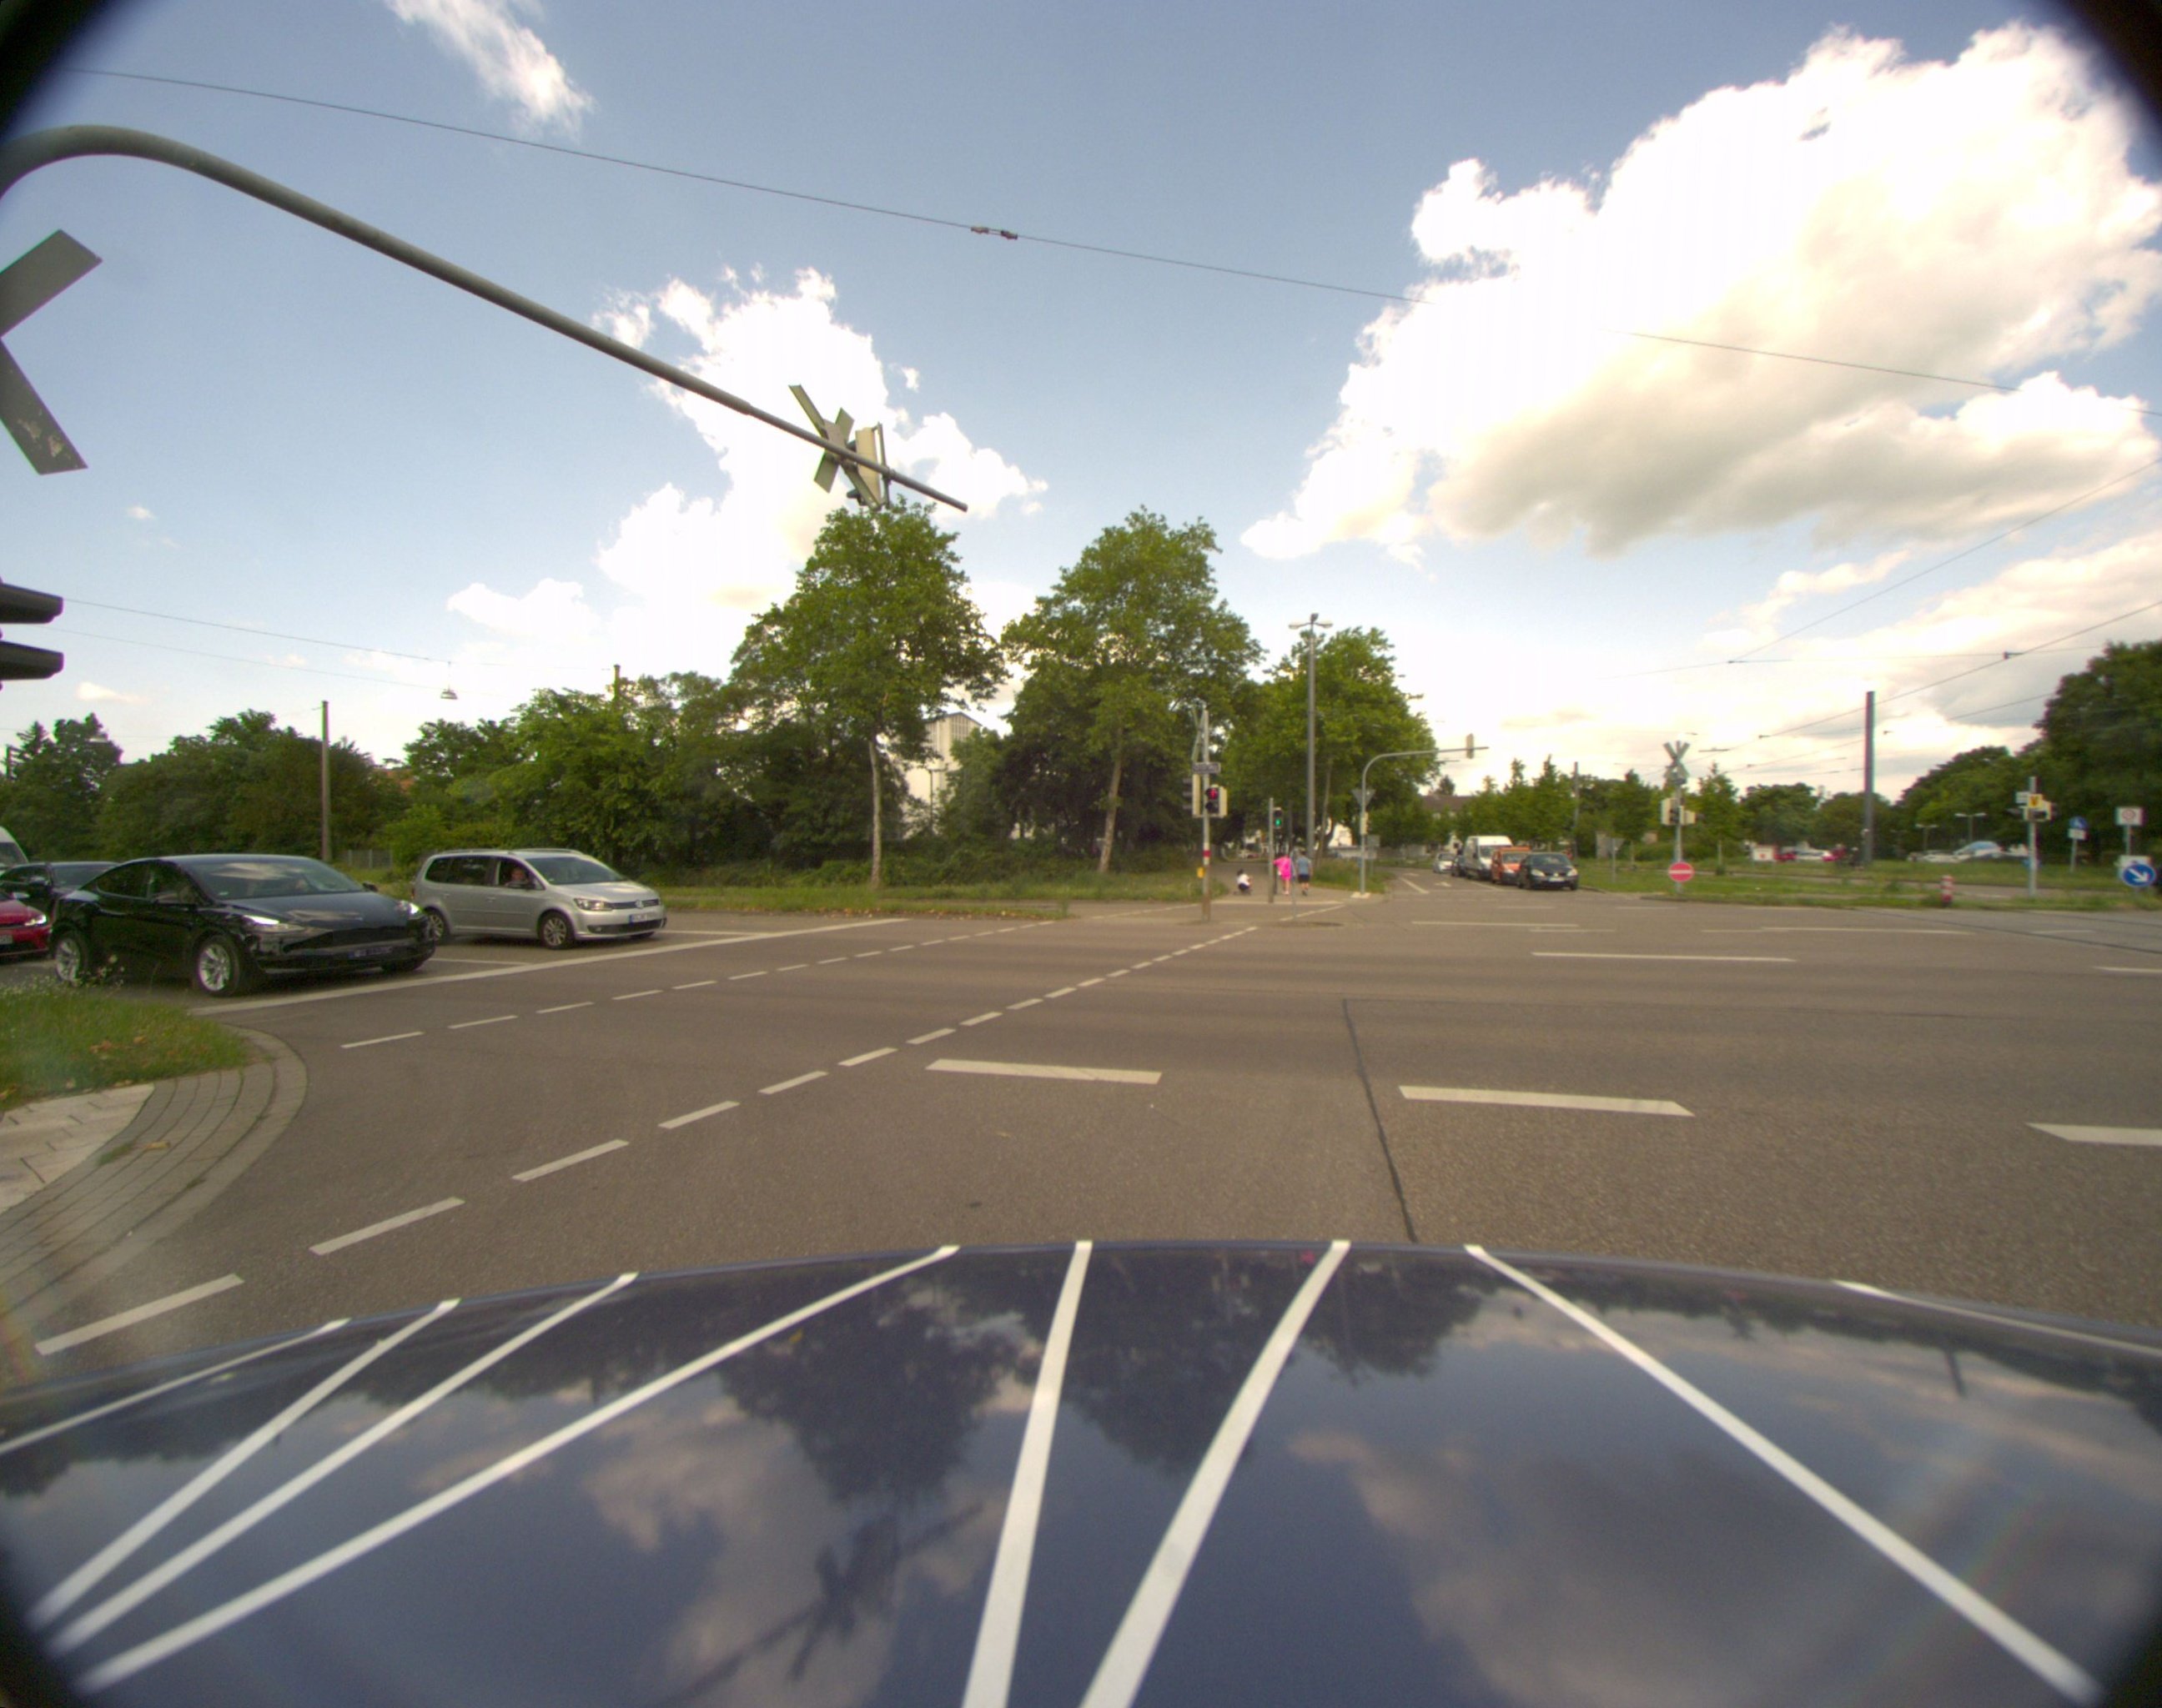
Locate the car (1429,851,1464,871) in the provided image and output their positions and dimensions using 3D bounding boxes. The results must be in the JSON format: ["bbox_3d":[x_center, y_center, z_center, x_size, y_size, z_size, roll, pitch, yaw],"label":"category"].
[{"bbox_3d":[27.888,0.517,58.107,1.808,1.423,4.388,0,0,18],"label":"car"}]

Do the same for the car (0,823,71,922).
[{"bbox_3d":[-30.372,0.475,20.164,5.921,2.516,2.229,0,2,16],"label":"car"}]

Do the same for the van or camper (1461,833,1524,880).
[{"bbox_3d":[23.710,0.149,44.023,1.978,2.509,6.045,0,0,16],"label":"van or camper"}]

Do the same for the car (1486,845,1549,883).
[{"bbox_3d":[21.633,0.450,37.808,1.880,1.789,4.376,0,1,19],"label":"car"}]

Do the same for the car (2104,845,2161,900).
[{"bbox_3d":[32.426,0.535,21.814,1.723,1.607,4.006,0,1,20],"label":"car"}]

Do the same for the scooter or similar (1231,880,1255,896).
[{"bbox_3d":[5.658,1.172,26.511,0.610,0.508,0.859,-2,0,26],"label":"scooter or similar"}]

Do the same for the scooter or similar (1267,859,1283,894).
[{"bbox_3d":[6.925,0.789,27.130,0.321,1.225,0.777,-2,0,28],"label":"scooter or similar"}]

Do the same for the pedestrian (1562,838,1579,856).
[{"bbox_3d":[52.711,-0.747,81.894,1.105,2.002,1.177,0,1,3],"label":"pedestrian"}]

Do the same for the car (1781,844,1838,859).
[{"bbox_3d":[71.666,-0.246,74.812,3.988,1.521,2.004,0,1,43],"label":"car"}]

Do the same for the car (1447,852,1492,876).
[{"bbox_3d":[25.674,0.636,50.345,1.808,1.423,4.474,0,1,16],"label":"car"}]

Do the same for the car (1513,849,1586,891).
[{"bbox_3d":[19.478,0.616,31.765,1.732,1.621,4.058,0,1,19],"label":"car"}]

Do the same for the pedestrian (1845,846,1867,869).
[{"bbox_3d":[47.971,0.210,47.032,0.650,1.346,0.753,-2,0,17],"label":"pedestrian"}]

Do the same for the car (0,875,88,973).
[{"bbox_3d":[-18.138,1.073,11.761,4.493,1.383,1.804,0,2,16],"label":"car"}]

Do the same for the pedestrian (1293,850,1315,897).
[{"bbox_3d":[7.753,0.675,26.442,0.631,1.610,0.611,-1,1,26],"label":"pedestrian"}]

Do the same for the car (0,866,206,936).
[{"bbox_3d":[-22.468,1.002,17.214,4.334,1.367,1.766,0,2,16],"label":"car"}]

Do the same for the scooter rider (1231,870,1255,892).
[{"bbox_3d":[5.646,0.934,26.502,0.611,0.724,0.861,-2,0,27],"label":"scooter rider"}]

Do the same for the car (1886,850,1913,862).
[{"bbox_3d":[106.517,0.249,98.925,1.994,1.630,4.400,0,1,42],"label":"car"}]

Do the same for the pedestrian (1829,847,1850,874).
[{"bbox_3d":[46.384,0.379,46.466,0.612,1.635,0.638,-2,0,3],"label":"pedestrian"}]

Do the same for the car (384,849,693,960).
[{"bbox_3d":[-9.330,0.780,13.169,4.493,1.643,1.933,0,2,16],"label":"car"}]

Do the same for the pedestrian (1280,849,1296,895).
[{"bbox_3d":[7.335,0.630,26.902,0.420,1.610,0.597,-1,1,26],"label":"pedestrian"}]

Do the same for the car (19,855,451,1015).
[{"bbox_3d":[-10.753,0.874,9.720,4.570,1.643,1.934,0,2,18],"label":"car"}]

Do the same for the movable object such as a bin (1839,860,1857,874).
[{"bbox_3d":[46.371,0.783,45.946,0.578,0.806,0.460,-2,0,2],"label":"movable object such as a bin"}]

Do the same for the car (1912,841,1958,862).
[{"bbox_3d":[69.256,-0.229,61.665,1.994,1.630,4.400,0,1,42],"label":"car"}]
